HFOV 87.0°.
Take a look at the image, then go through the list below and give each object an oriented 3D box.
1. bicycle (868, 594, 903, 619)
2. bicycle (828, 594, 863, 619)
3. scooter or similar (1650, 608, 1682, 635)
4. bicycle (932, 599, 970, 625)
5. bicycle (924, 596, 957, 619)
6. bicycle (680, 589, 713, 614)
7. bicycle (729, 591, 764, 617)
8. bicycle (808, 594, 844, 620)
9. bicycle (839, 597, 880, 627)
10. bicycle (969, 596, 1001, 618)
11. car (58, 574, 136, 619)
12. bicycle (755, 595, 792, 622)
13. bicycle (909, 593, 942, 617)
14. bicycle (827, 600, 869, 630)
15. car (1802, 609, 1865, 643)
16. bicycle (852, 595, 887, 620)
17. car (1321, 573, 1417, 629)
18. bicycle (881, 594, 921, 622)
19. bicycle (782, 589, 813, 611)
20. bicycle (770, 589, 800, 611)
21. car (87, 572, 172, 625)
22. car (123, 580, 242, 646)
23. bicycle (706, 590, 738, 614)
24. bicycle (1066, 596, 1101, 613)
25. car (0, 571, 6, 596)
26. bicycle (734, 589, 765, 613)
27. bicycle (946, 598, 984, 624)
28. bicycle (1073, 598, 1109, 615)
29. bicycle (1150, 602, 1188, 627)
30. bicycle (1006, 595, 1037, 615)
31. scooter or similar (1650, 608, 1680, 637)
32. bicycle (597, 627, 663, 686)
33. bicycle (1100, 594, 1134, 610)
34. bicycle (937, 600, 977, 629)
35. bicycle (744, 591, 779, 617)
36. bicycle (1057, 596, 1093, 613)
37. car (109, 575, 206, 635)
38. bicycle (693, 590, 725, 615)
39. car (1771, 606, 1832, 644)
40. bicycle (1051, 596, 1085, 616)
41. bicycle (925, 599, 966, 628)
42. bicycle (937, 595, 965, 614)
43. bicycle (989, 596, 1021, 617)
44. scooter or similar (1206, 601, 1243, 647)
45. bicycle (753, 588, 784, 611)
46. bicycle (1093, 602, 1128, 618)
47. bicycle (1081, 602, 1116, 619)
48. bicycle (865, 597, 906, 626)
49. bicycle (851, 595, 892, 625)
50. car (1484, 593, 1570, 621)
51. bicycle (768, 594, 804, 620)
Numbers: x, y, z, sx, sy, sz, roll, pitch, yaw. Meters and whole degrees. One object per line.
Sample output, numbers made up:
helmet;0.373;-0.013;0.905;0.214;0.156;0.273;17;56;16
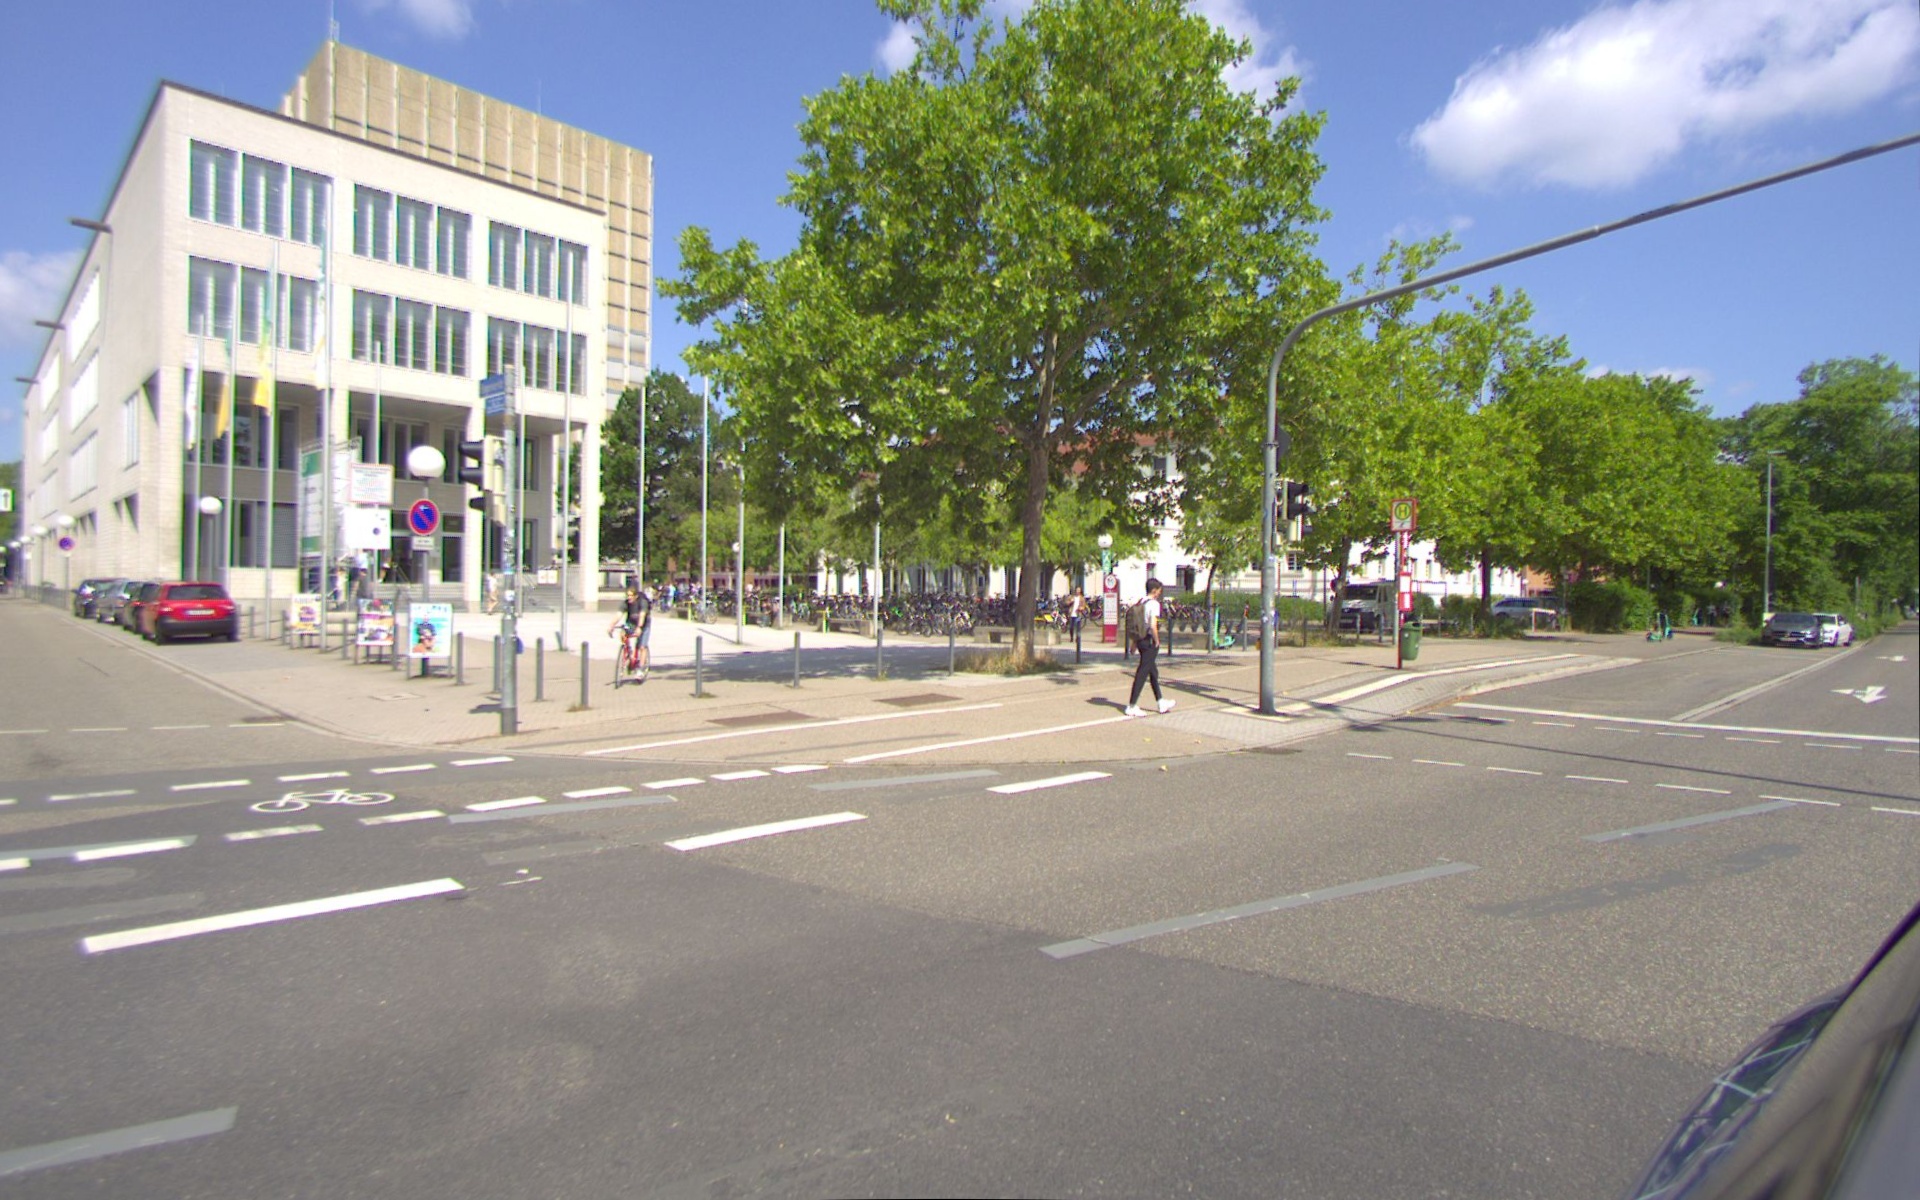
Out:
bicycle;-3.488;0.297;47.259;1.666;1.111;0.617;1;0;41
bicycle;-5.182;0.283;45.778;1.666;1.111;0.617;1;0;41
scooter or similar;28.655;0.861;41.058;1.342;1.085;0.519;1;0;-29
bicycle;-0.394;0.504;43.387;1.666;1.111;0.617;1;0;41
bicycle;-0.972;0.352;50.763;1.666;1.111;0.617;1;0;41
bicycle;-12.141;0.057;46.600;1.666;1.111;0.617;1;0;41
bicycle;-9.286;0.179;44.055;1.666;1.111;0.617;1;0;41
bicycle;-5.930;0.299;44.813;1.666;1.111;0.617;1;0;41
bicycle;-3.899;0.461;39.288;1.666;1.111;0.617;1;0;41
bicycle;1.323;0.377;53.009;1.666;1.111;0.617;1;0;41
car;-32.166;-0.130;37.701;3.986;1.588;1.782;1;0;43
bicycle;-7.895;0.345;42.811;1.666;1.111;0.617;1;0;41
bicycle;-1.721;0.244;49.847;1.666;1.111;0.617;1;0;41
bicycle;-4.310;0.549;38.791;1.666;1.111;0.617;1;0;41
car;38.392;1.115;44.442;3.931;1.359;1.559;1;2;-42
bicycle;-4.188;0.339;46.594;1.666;1.111;0.617;1;0;41
car;16.048;0.049;39.531;1.992;2.039;4.828;1;0;41
bicycle;-2.380;0.307;41.002;1.666;1.111;0.617;1;0;41
bicycle;-8.297;-0.004;51.725;1.666;1.111;0.617;1;0;41
bicycle;-8.829;-0.010;51.034;1.666;1.111;0.617;1;0;41
car;-27.220;-0.057;33.128;1.756;1.633;3.989;1;0;-45
car;-19.655;0.269;25.535;3.985;1.497;1.696;1;2;42
bicycle;-11.211;0.072;47.685;1.666;1.111;0.617;1;0;41
bicycle;6.032;0.227;49.388;1.666;0.800;0.617;1;0;41
car;-74.838;-1.256;78.078;1.634;1.795;3.988;1;-1;-45
bicycle;-10.271;0.048;49.356;1.666;1.111;0.617;1;0;41
bicycle;0.209;0.482;43.994;1.666;1.111;0.617;1;0;41
bicycle;6.462;0.336;49.918;1.666;0.800;0.617;1;0;41
bicycle;9.759;0.685;47.328;1.666;1.111;0.617;1;0;41
bicycle;3.358;0.273;55.448;1.666;1.111;0.617;1;0;41
scooter or similar;27.410;0.856;39.347;1.414;1.091;0.518;1;0;-37
bicycle;-5.252;0.882;16.164;0.608;0.844;1.516;1;1;-2
bicycle;8.054;0.080;51.896;1.666;0.800;0.617;1;0;41
bicycle;-0.125;0.575;41.182;1.666;1.111;0.617;1;0;41
bicycle;-8.788;0.178;44.715;1.666;1.111;0.617;1;0;41
bicycle;5.556;0.224;48.867;1.666;0.800;0.617;1;0;41
car;-23.225;0.113;29.226;1.756;1.633;3.989;1;0;-45
bicycle;-11.702;0.110;47.165;1.666;1.111;0.617;1;0;41
car;34.080;0.974;40.958;1.704;1.345;3.938;4;2;42
bicycle;5.152;0.282;48.433;1.666;0.933;0.465;1;0;41
bicycle;-0.580;0.547;40.552;1.666;1.111;0.617;1;0;41
bicycle;-0.539;0.273;59.333;1.666;1.111;0.617;1;0;41
bicycle;2.400;0.329;53.515;1.666;1.111;0.617;1;0;41
scooter or similar;6.670;0.598;25.538;1.148;1.143;0.347;1;0;-43
bicycle;-9.506;-0.015;50.204;1.666;1.111;0.617;1;0;41
bicycle;7.590;0.503;51.126;1.666;0.800;0.617;1;0;41
bicycle;6.915;0.520;50.584;1.666;0.800;0.617;1;0;41
bicycle;-2.980;0.441;40.286;1.666;1.111;0.617;1;0;41
bicycle;-3.473;0.385;39.819;1.666;1.111;0.617;1;0;41
car;31.347;0.366;55.961;3.978;1.443;1.734;1;0;38
bicycle;-7.444;0.298;43.321;1.666;1.111;0.617;1;0;41
